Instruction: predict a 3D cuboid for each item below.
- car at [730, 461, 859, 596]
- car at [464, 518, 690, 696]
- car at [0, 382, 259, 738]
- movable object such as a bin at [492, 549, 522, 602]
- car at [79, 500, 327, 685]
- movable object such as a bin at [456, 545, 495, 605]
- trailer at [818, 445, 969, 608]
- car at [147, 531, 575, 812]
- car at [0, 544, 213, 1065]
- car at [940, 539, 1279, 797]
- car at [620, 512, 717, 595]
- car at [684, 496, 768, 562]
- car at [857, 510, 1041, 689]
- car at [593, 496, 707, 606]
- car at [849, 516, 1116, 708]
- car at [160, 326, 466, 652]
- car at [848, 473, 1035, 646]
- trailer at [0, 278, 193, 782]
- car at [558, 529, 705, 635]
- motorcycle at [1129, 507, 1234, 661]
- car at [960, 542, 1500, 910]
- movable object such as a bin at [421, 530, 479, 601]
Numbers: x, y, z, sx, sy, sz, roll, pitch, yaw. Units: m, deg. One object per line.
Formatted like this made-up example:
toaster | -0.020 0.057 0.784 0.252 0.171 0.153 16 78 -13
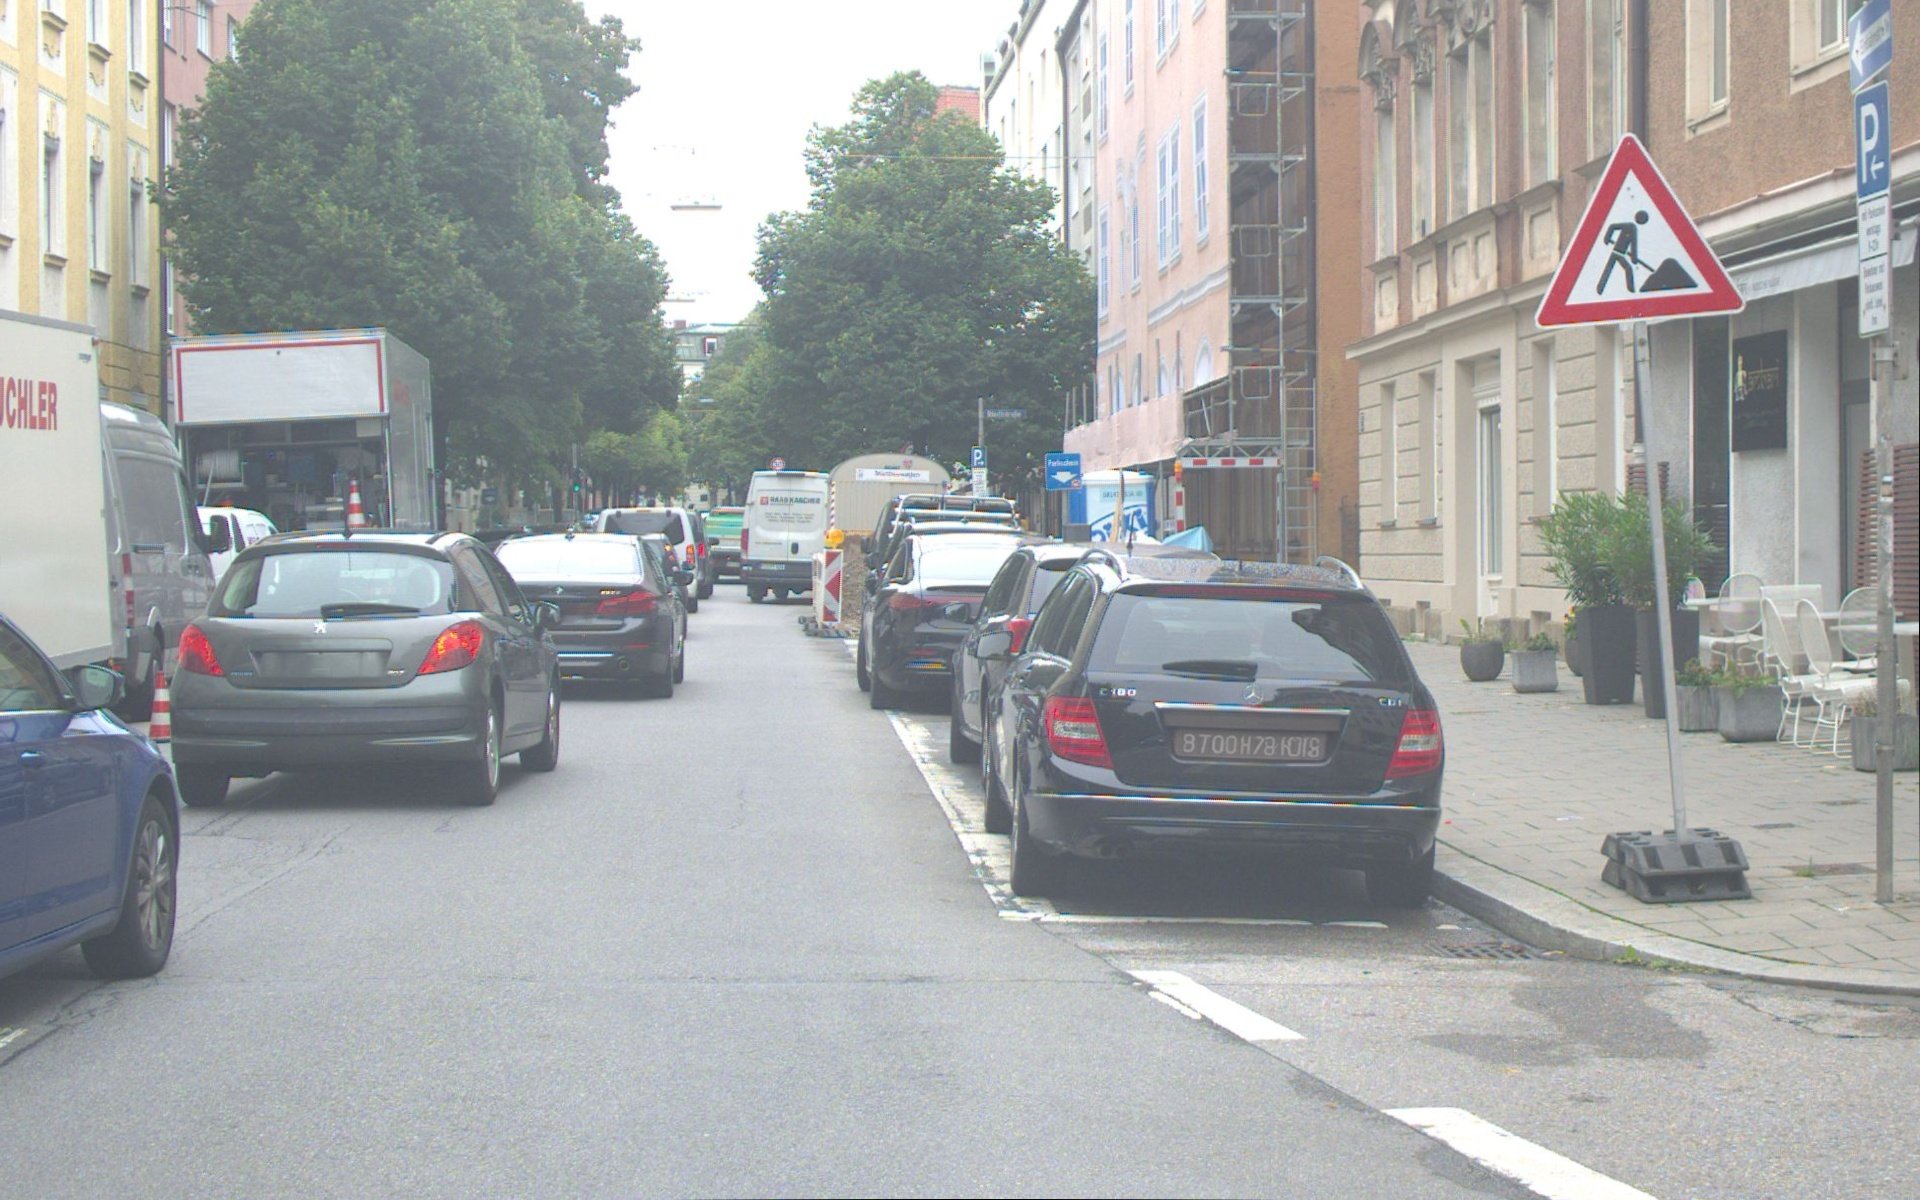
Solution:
car | -3.369 -1.460 71.184 2.113 2.654 5.500 1 1 3
car | -3.413 0.008 31.288 1.867 1.449 4.348 1 2 -4
car | -7.524 -0.333 28.953 2.056 2.578 6.878 -4 2 -4
movable object such as a bin | -9.069 -0.489 68.835 0.546 1.017 0.636 -2 2 -6
car | -7.926 -0.120 36.371 1.763 1.772 4.327 -2 1 -2
movable object such as a bin | -9.683 -0.505 68.740 0.711 1.144 0.636 -2 2 -6
trailer | -1.317 -1.339 64.190 2.502 2.830 6.902 1 1 -3
car | -3.263 0.333 19.369 1.741 1.417 3.664 0 1 0
car | -3.596 0.583 10.002 1.789 1.455 4.314 -1 1 2
car | 0.808 0.341 20.902 1.572 1.389 4.183 -1 1 -4
car | -6.085 -0.997 72.146 1.867 1.647 4.348 1 2 -3
car | -6.125 -1.874 89.541 2.007 1.647 4.348 1 2 -6
car | -0.172 -0.036 35.849 1.693 1.671 4.408 3 1 -2
car | -5.554 -0.916 61.895 1.867 1.863 4.348 1 2 -3
car | 0.090 0.033 30.659 1.930 1.547 5.638 0 1 -4
car | -8.218 -1.387 44.693 2.812 3.804 8.725 -1 1 -4
car | -0.294 -0.427 42.054 2.082 1.914 5.141 1 -1 -2
trailer | -7.070 -0.397 21.462 2.803 2.958 7.600 -3 2 -1
car | -4.592 -0.285 48.522 1.867 1.343 4.348 1 2 -3
motorcycle | 2.212 -0.175 34.568 0.871 1.499 1.997 0 1 -1
car | 1.046 0.445 15.691 1.846 1.400 4.789 0 1 -3
movable object such as a bin | -10.317 -0.702 69.534 1.081 1.372 1.084 -2 2 -7
